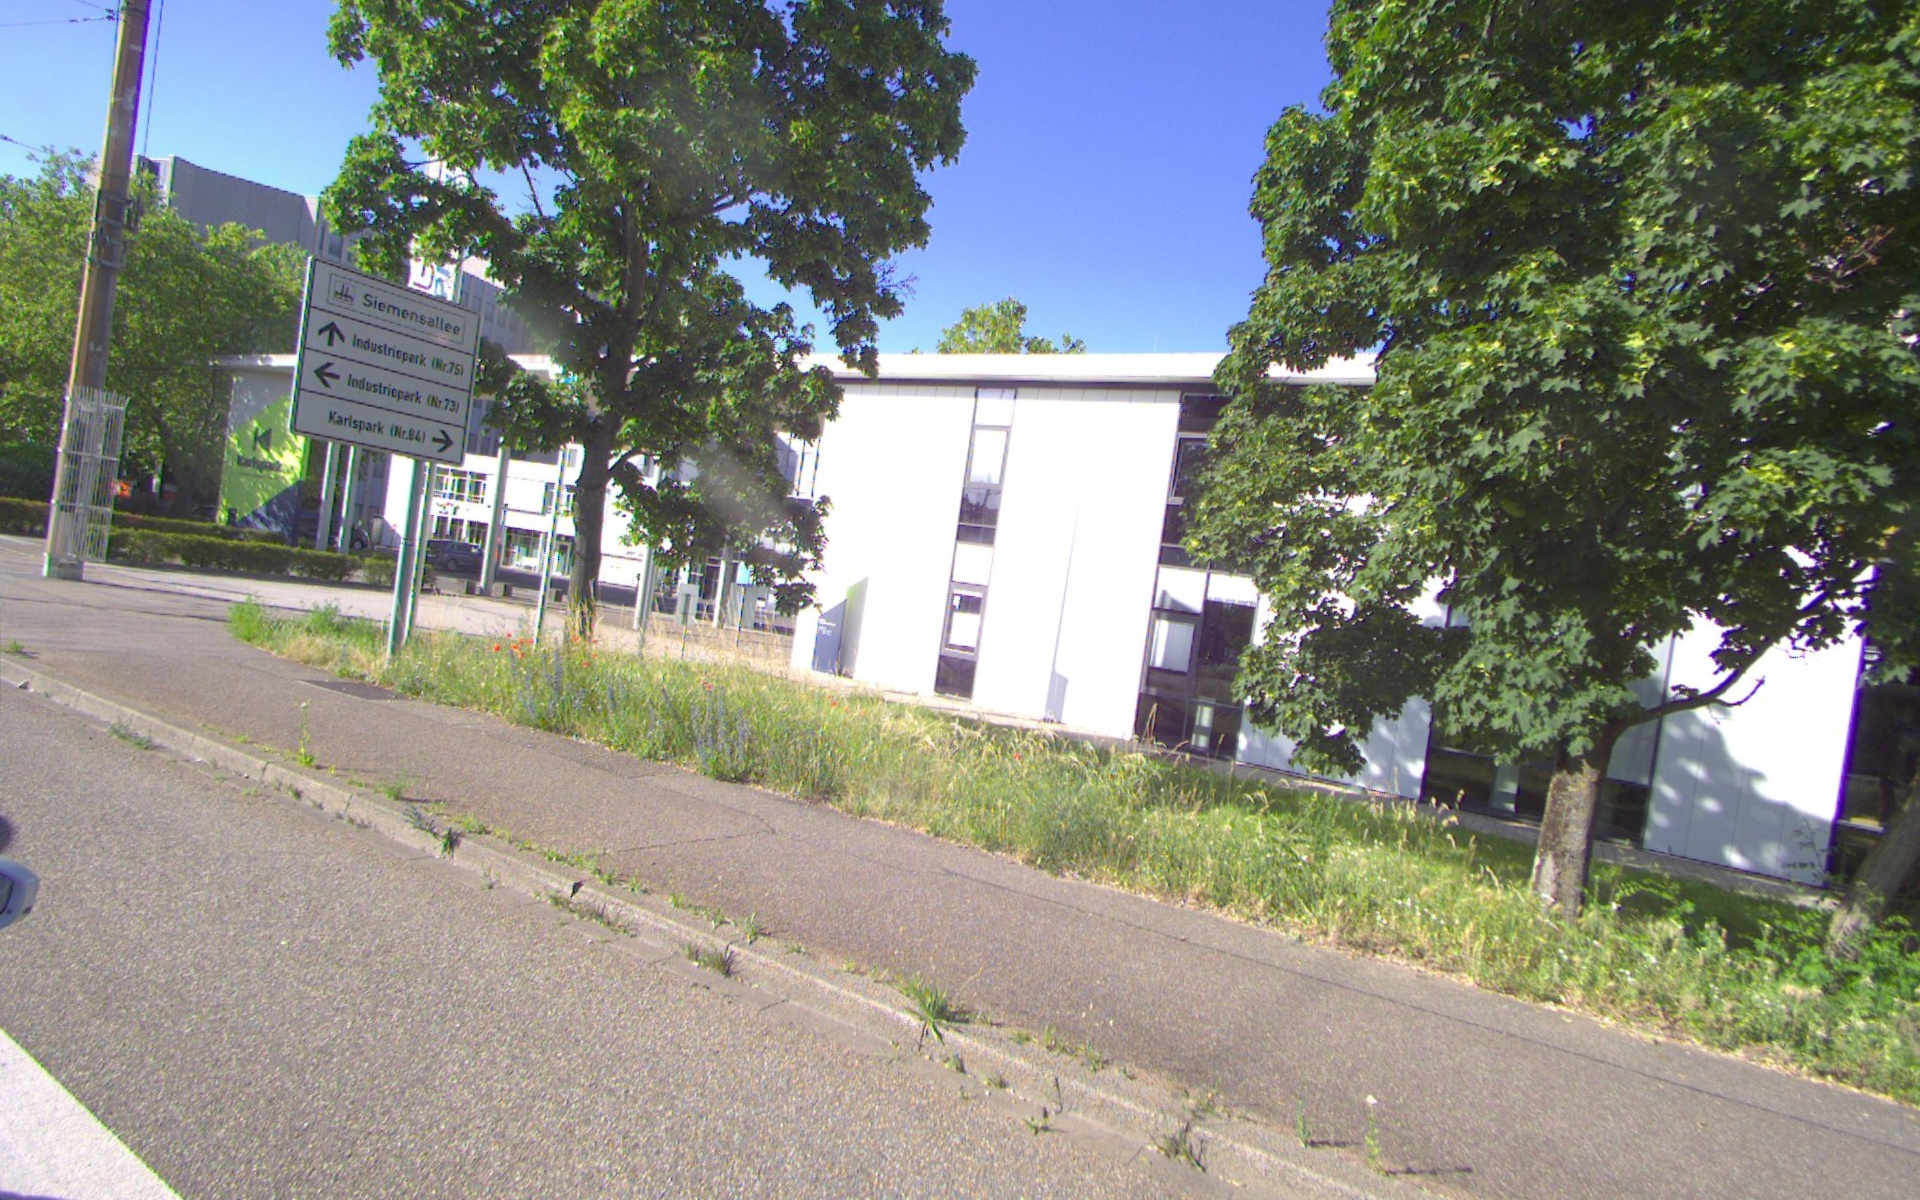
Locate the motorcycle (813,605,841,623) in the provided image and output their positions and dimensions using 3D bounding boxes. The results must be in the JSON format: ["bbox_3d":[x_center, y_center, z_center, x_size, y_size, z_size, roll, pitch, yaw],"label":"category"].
[{"bbox_3d":[-8.966,0.916,67.850,1.701,0.959,0.653,8,0,17],"label":"motorcycle"}]

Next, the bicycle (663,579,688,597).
[{"bbox_3d":[-20.250,-0.864,71.662,1.591,1.016,0.566,8,0,17],"label":"bicycle"}]

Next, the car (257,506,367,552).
[{"bbox_3d":[-36.272,-3.952,56.503,2.052,1.778,4.900,8,-1,17],"label":"car"}]

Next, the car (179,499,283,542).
[{"bbox_3d":[-42.647,-4.637,58.962,1.861,1.706,4.468,8,-1,26],"label":"car"}]

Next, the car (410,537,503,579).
[{"bbox_3d":[-26.670,-2.209,53.445,1.918,1.597,4.000,8,-1,23],"label":"car"}]
